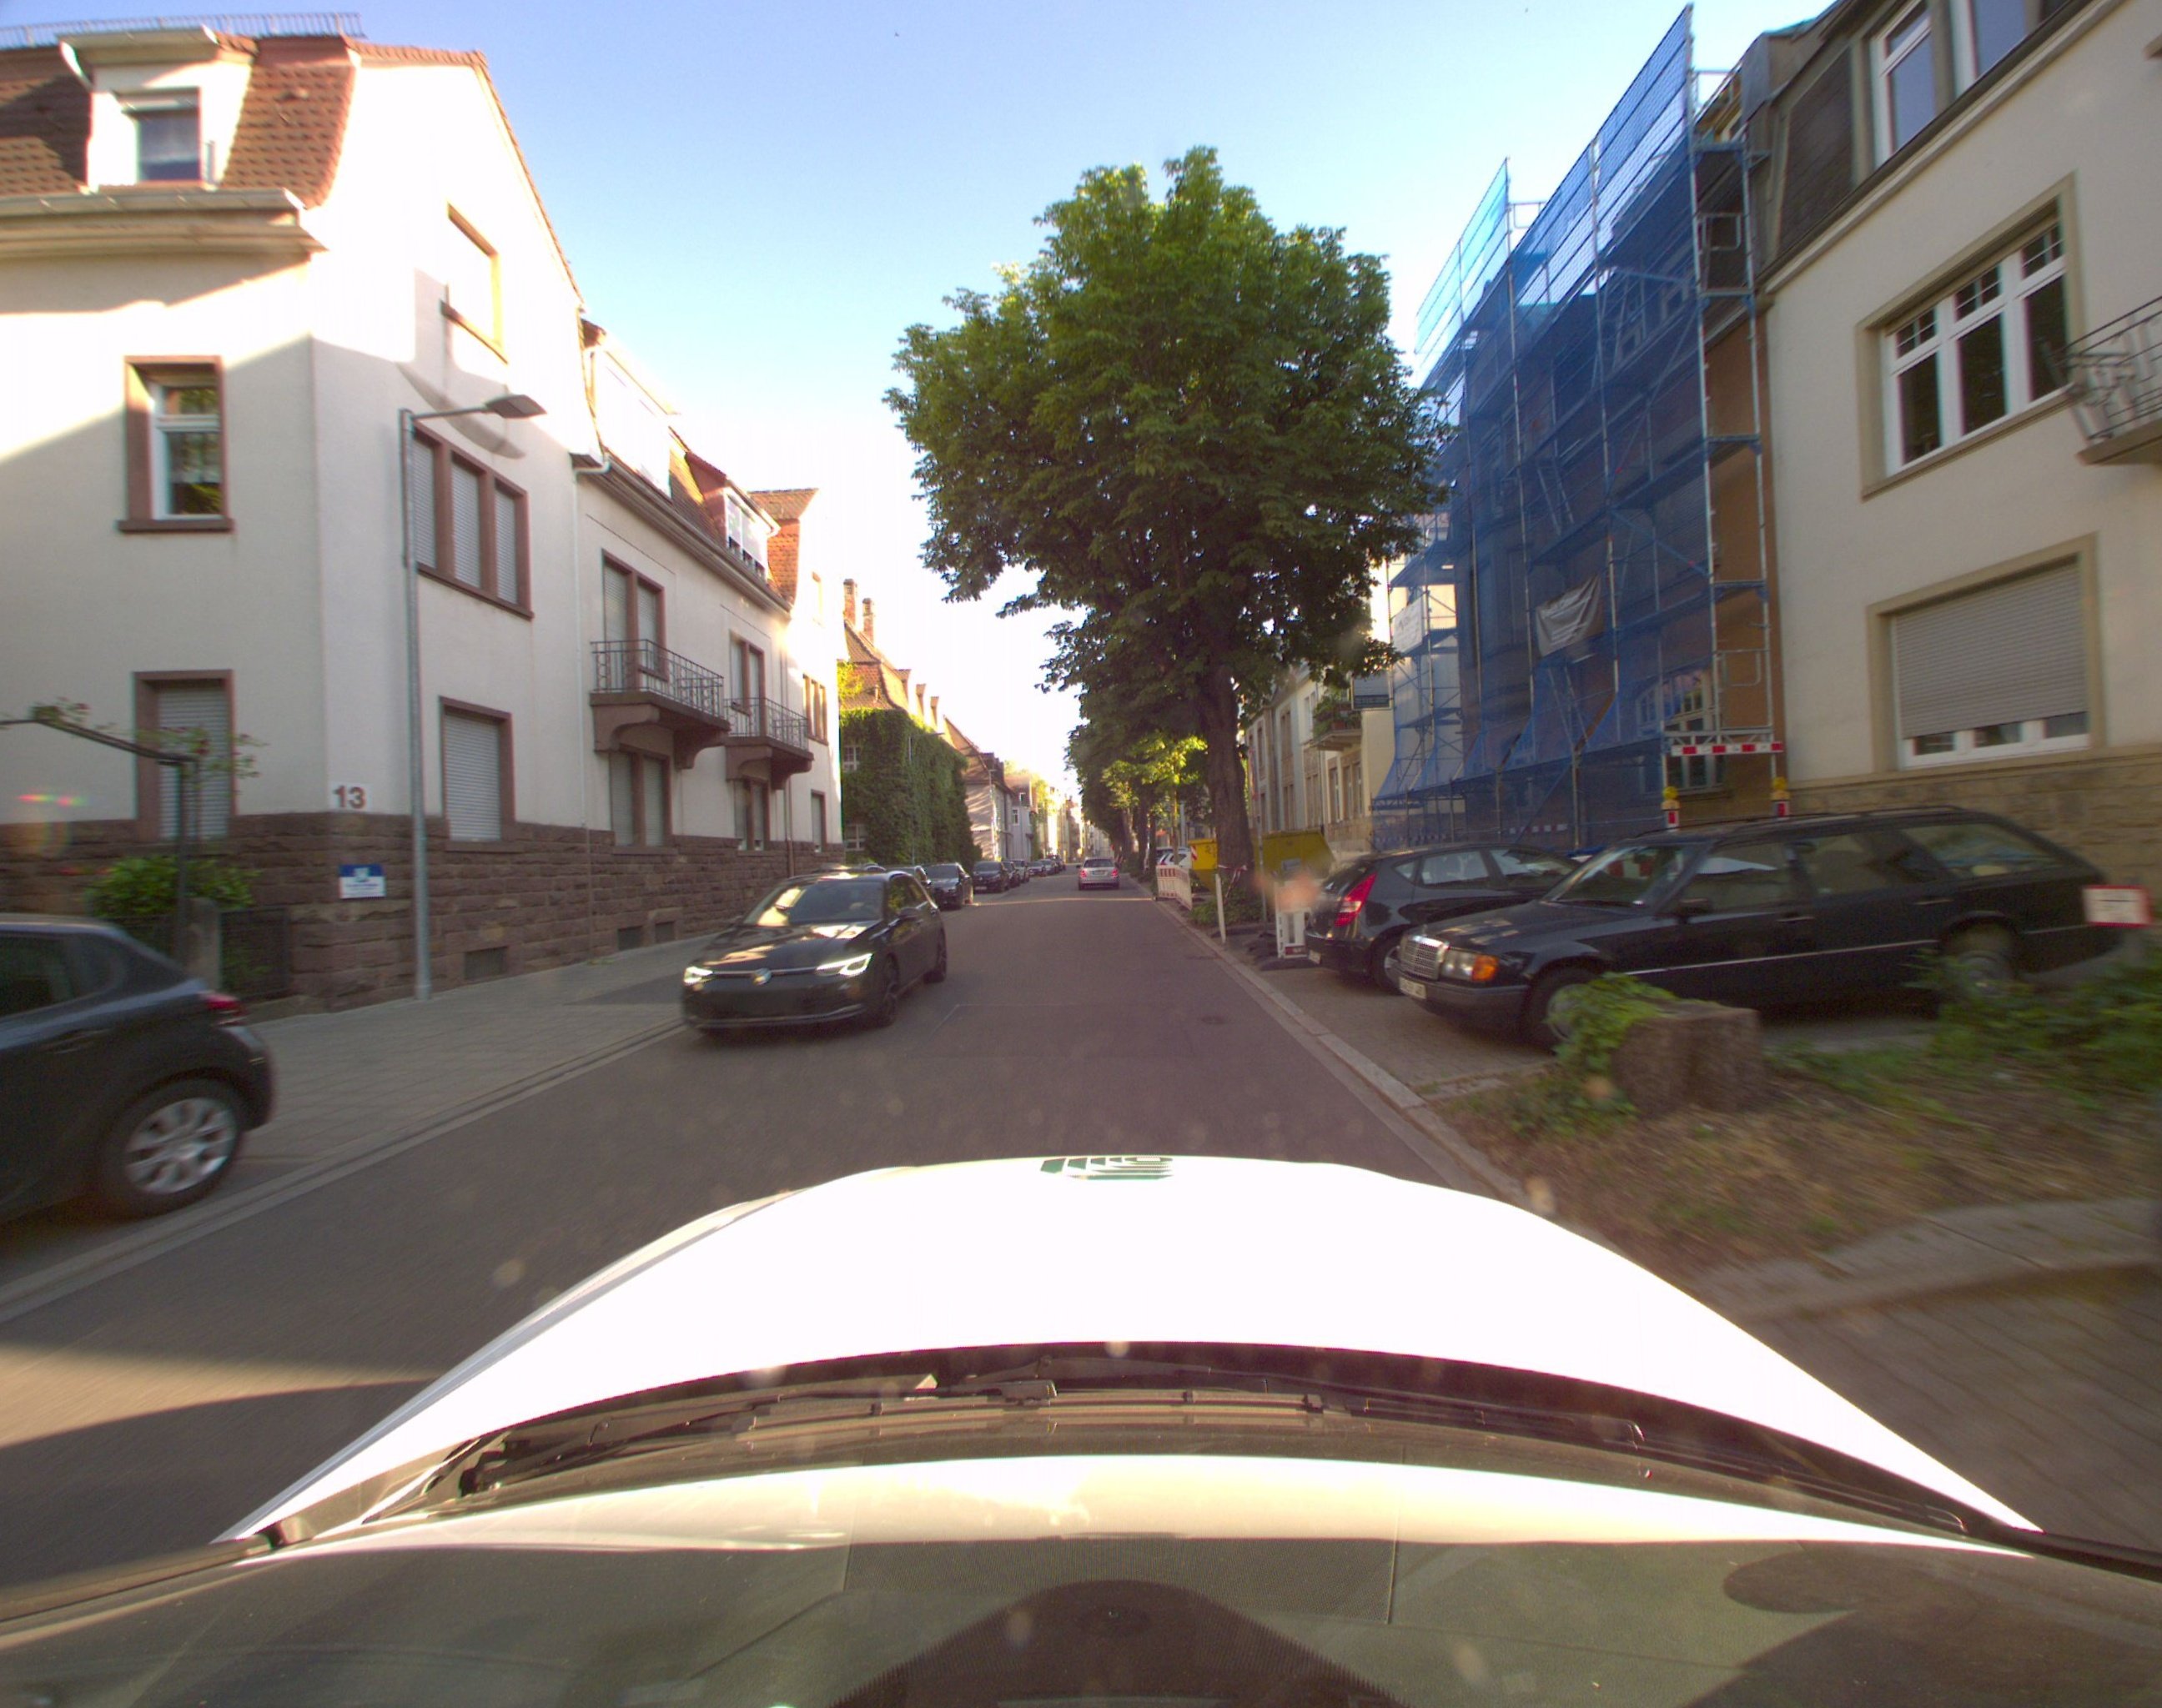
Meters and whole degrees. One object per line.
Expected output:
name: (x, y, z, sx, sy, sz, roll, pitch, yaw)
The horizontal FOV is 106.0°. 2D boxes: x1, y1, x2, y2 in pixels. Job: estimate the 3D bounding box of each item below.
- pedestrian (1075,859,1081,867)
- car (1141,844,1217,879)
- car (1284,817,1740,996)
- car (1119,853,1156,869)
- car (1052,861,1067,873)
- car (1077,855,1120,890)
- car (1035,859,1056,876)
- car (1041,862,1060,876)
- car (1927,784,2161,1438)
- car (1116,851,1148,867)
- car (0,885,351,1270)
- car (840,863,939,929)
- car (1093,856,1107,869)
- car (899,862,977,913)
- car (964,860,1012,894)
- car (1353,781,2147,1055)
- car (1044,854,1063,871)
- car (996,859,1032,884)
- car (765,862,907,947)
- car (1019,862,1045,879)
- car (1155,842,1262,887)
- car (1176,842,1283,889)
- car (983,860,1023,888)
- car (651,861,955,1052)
pedestrian: (-0.750, 2.155, 194.164, 1.215, 1.721, 1.505, -1, -1, 4)
car: (5.931, 0.459, 49.735, 4.300, 1.807, 2.000, -4, 0, 0)
car: (4.464, 0.523, 8.962, 3.971, 1.492, 1.852, -4, 0, 2)
car: (6.538, 0.833, 94.275, 4.172, 1.475, 1.853, -4, -1, 3)
car: (-2.680, 1.599, 104.074, 1.688, 1.447, 4.359, -1, 0, 1)
car: (0.788, 0.798, 35.839, 1.777, 1.437, 3.852, -1, -1, 2)
car: (-3.307, 1.260, 76.747, 1.647, 1.445, 3.962, -1, 0, 2)
car: (-3.045, 1.452, 81.832, 1.524, 1.319, 4.230, -2, -1, 4)
car: (4.554, 0.461, 1.422, 4.141, 1.539, 1.851, -4, 0, 0)
car: (6.918, 0.723, 110.842, 4.208, 1.896, 1.904, -4, -1, -1)
car: (-5.057, 0.912, 2.667, 1.648, 1.447, 4.005, -1, 0, 1)
car: (-4.782, 0.998, 20.860, 1.649, 1.447, 3.842, -1, 0, -1)
car: (2.289, 1.043, 99.701, 1.617, 1.570, 3.682, -2, 0, 2)
car: (-4.566, 1.012, 26.623, 1.787, 1.461, 4.775, -1, 0, -1)
car: (-4.248, 1.024, 37.741, 1.643, 1.421, 4.100, -1, 0, 1)
car: (4.847, 0.443, 6.468, 4.702, 1.535, 1.851, -4, 0, 1)
car: (-3.111, 0.956, 93.211, 1.975, 1.947, 4.851, -1, 0, 0)
car: (-4.111, 1.056, 50.406, 1.697, 1.460, 3.920, -1, 0, 2)
car: (-4.820, 0.929, 16.576, 1.647, 1.486, 3.765, -1, 0, 1)
car: (-4.057, 1.360, 67.608, 1.646, 1.324, 4.049, -1, -1, 3)
car: (5.179, 0.438, 33.556, 4.127, 1.534, 1.688, -4, 0, 3)
car: (5.598, 0.435, 31.071, 3.833, 1.462, 1.689, -4, 0, 5)
car: (-4.129, 1.061, 43.721, 1.680, 1.379, 3.722, -1, 0, 1)
car: (-2.613, 0.868, 8.755, 1.766, 1.448, 4.001, -3, 0, 1)
